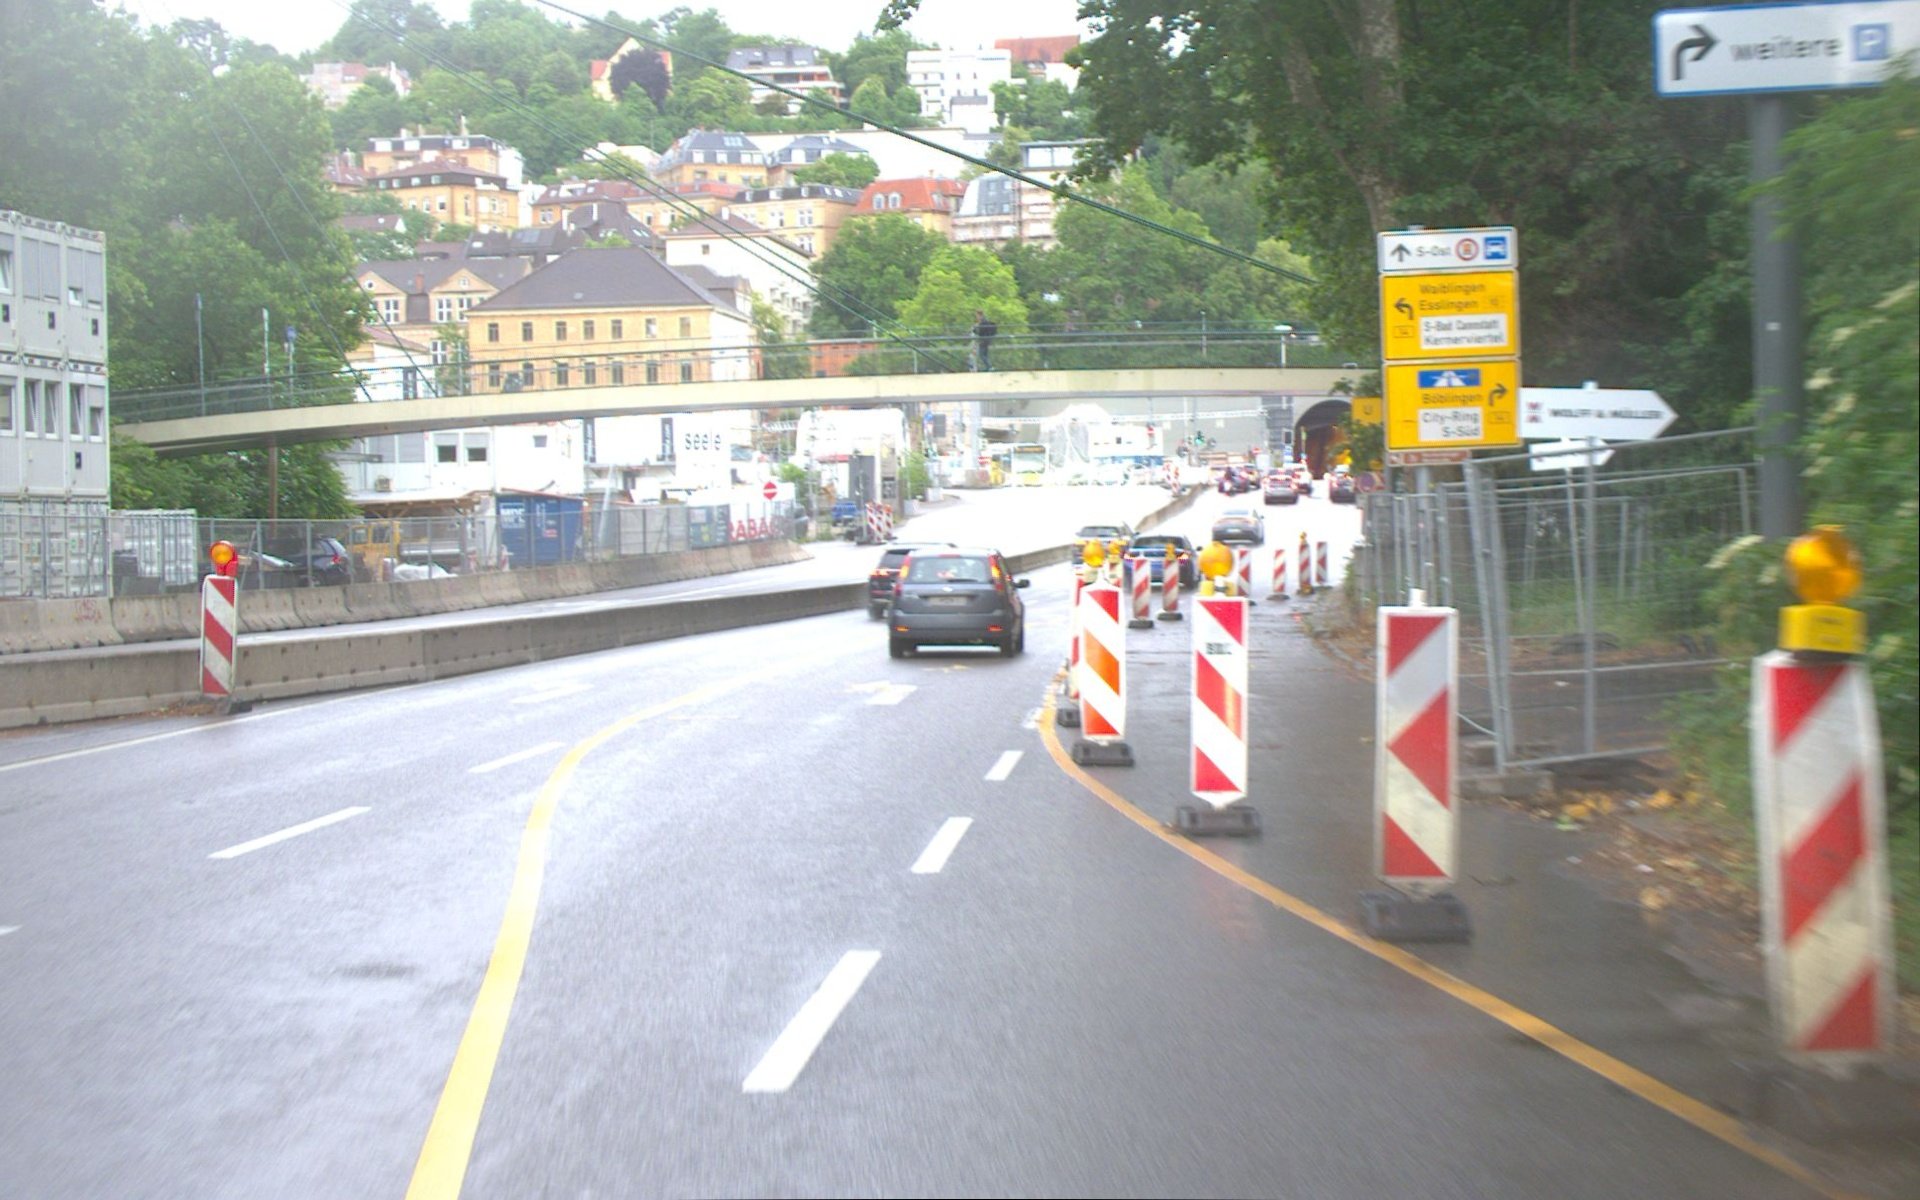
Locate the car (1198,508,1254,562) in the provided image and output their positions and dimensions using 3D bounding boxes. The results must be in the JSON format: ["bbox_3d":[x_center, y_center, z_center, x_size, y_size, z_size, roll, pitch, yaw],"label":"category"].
[{"bbox_3d":[10.355,-2.508,133.660,2.052,2.007,3.999,-2,1,6],"label":"car"}]

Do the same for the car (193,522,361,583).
[{"bbox_3d":[-19.615,-1.371,98.826,4.422,1.622,1.959,-2,1,-2],"label":"car"}]

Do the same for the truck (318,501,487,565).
[{"bbox_3d":[-18.884,-2.294,116.616,5.247,2.006,2.164,-2,2,3],"label":"truck"}]

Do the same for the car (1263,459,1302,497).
[{"bbox_3d":[16.995,-6.424,181.386,1.994,1.863,3.999,-2,1,5],"label":"car"}]

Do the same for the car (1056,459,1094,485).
[{"bbox_3d":[7.465,-8.330,223.006,2.082,1.625,4.852,-1,2,6],"label":"car"}]

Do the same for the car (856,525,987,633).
[{"bbox_3d":[-0.710,-0.434,67.225,2.017,2.007,3.999,-2,1,7],"label":"car"}]

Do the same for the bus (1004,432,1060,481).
[{"bbox_3d":[4.861,-9.593,230.616,2.807,3.173,8.806,-1,2,7],"label":"bus"}]

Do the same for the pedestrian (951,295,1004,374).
[{"bbox_3d":[0.477,-7.239,93.895,1.148,2.053,1.059,-1,1,15],"label":"pedestrian"}]

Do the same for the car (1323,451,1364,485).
[{"bbox_3d":[20.585,-7.074,184.657,1.994,1.693,3.999,-2,1,5],"label":"car"}]

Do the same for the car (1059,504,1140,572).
[{"bbox_3d":[4.331,-1.928,106.216,1.994,2.007,3.999,-1,1,9],"label":"car"}]

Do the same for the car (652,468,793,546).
[{"bbox_3d":[-9.008,-3.553,130.788,1.997,2.865,6.041,-1,1,34],"label":"car"}]

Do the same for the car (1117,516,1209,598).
[{"bbox_3d":[5.304,-1.129,89.494,2.105,2.043,3.999,-2,1,7],"label":"car"}]

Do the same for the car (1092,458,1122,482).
[{"bbox_3d":[10.231,-9.034,239.076,1.709,1.484,3.449,-1,1,8],"label":"car"}]

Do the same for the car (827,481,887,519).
[{"bbox_3d":[-4.814,-4.725,161.898,1.994,1.616,3.999,-1,3,11],"label":"car"}]

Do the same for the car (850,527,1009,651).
[{"bbox_3d":[-0.446,-0.176,45.811,1.812,1.521,4.001,-2,1,-4],"label":"car"}]

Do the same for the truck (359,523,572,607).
[{"bbox_3d":[-15.520,-1.111,108.173,6.276,2.444,2.694,-2,1,0],"label":"truck"}]
